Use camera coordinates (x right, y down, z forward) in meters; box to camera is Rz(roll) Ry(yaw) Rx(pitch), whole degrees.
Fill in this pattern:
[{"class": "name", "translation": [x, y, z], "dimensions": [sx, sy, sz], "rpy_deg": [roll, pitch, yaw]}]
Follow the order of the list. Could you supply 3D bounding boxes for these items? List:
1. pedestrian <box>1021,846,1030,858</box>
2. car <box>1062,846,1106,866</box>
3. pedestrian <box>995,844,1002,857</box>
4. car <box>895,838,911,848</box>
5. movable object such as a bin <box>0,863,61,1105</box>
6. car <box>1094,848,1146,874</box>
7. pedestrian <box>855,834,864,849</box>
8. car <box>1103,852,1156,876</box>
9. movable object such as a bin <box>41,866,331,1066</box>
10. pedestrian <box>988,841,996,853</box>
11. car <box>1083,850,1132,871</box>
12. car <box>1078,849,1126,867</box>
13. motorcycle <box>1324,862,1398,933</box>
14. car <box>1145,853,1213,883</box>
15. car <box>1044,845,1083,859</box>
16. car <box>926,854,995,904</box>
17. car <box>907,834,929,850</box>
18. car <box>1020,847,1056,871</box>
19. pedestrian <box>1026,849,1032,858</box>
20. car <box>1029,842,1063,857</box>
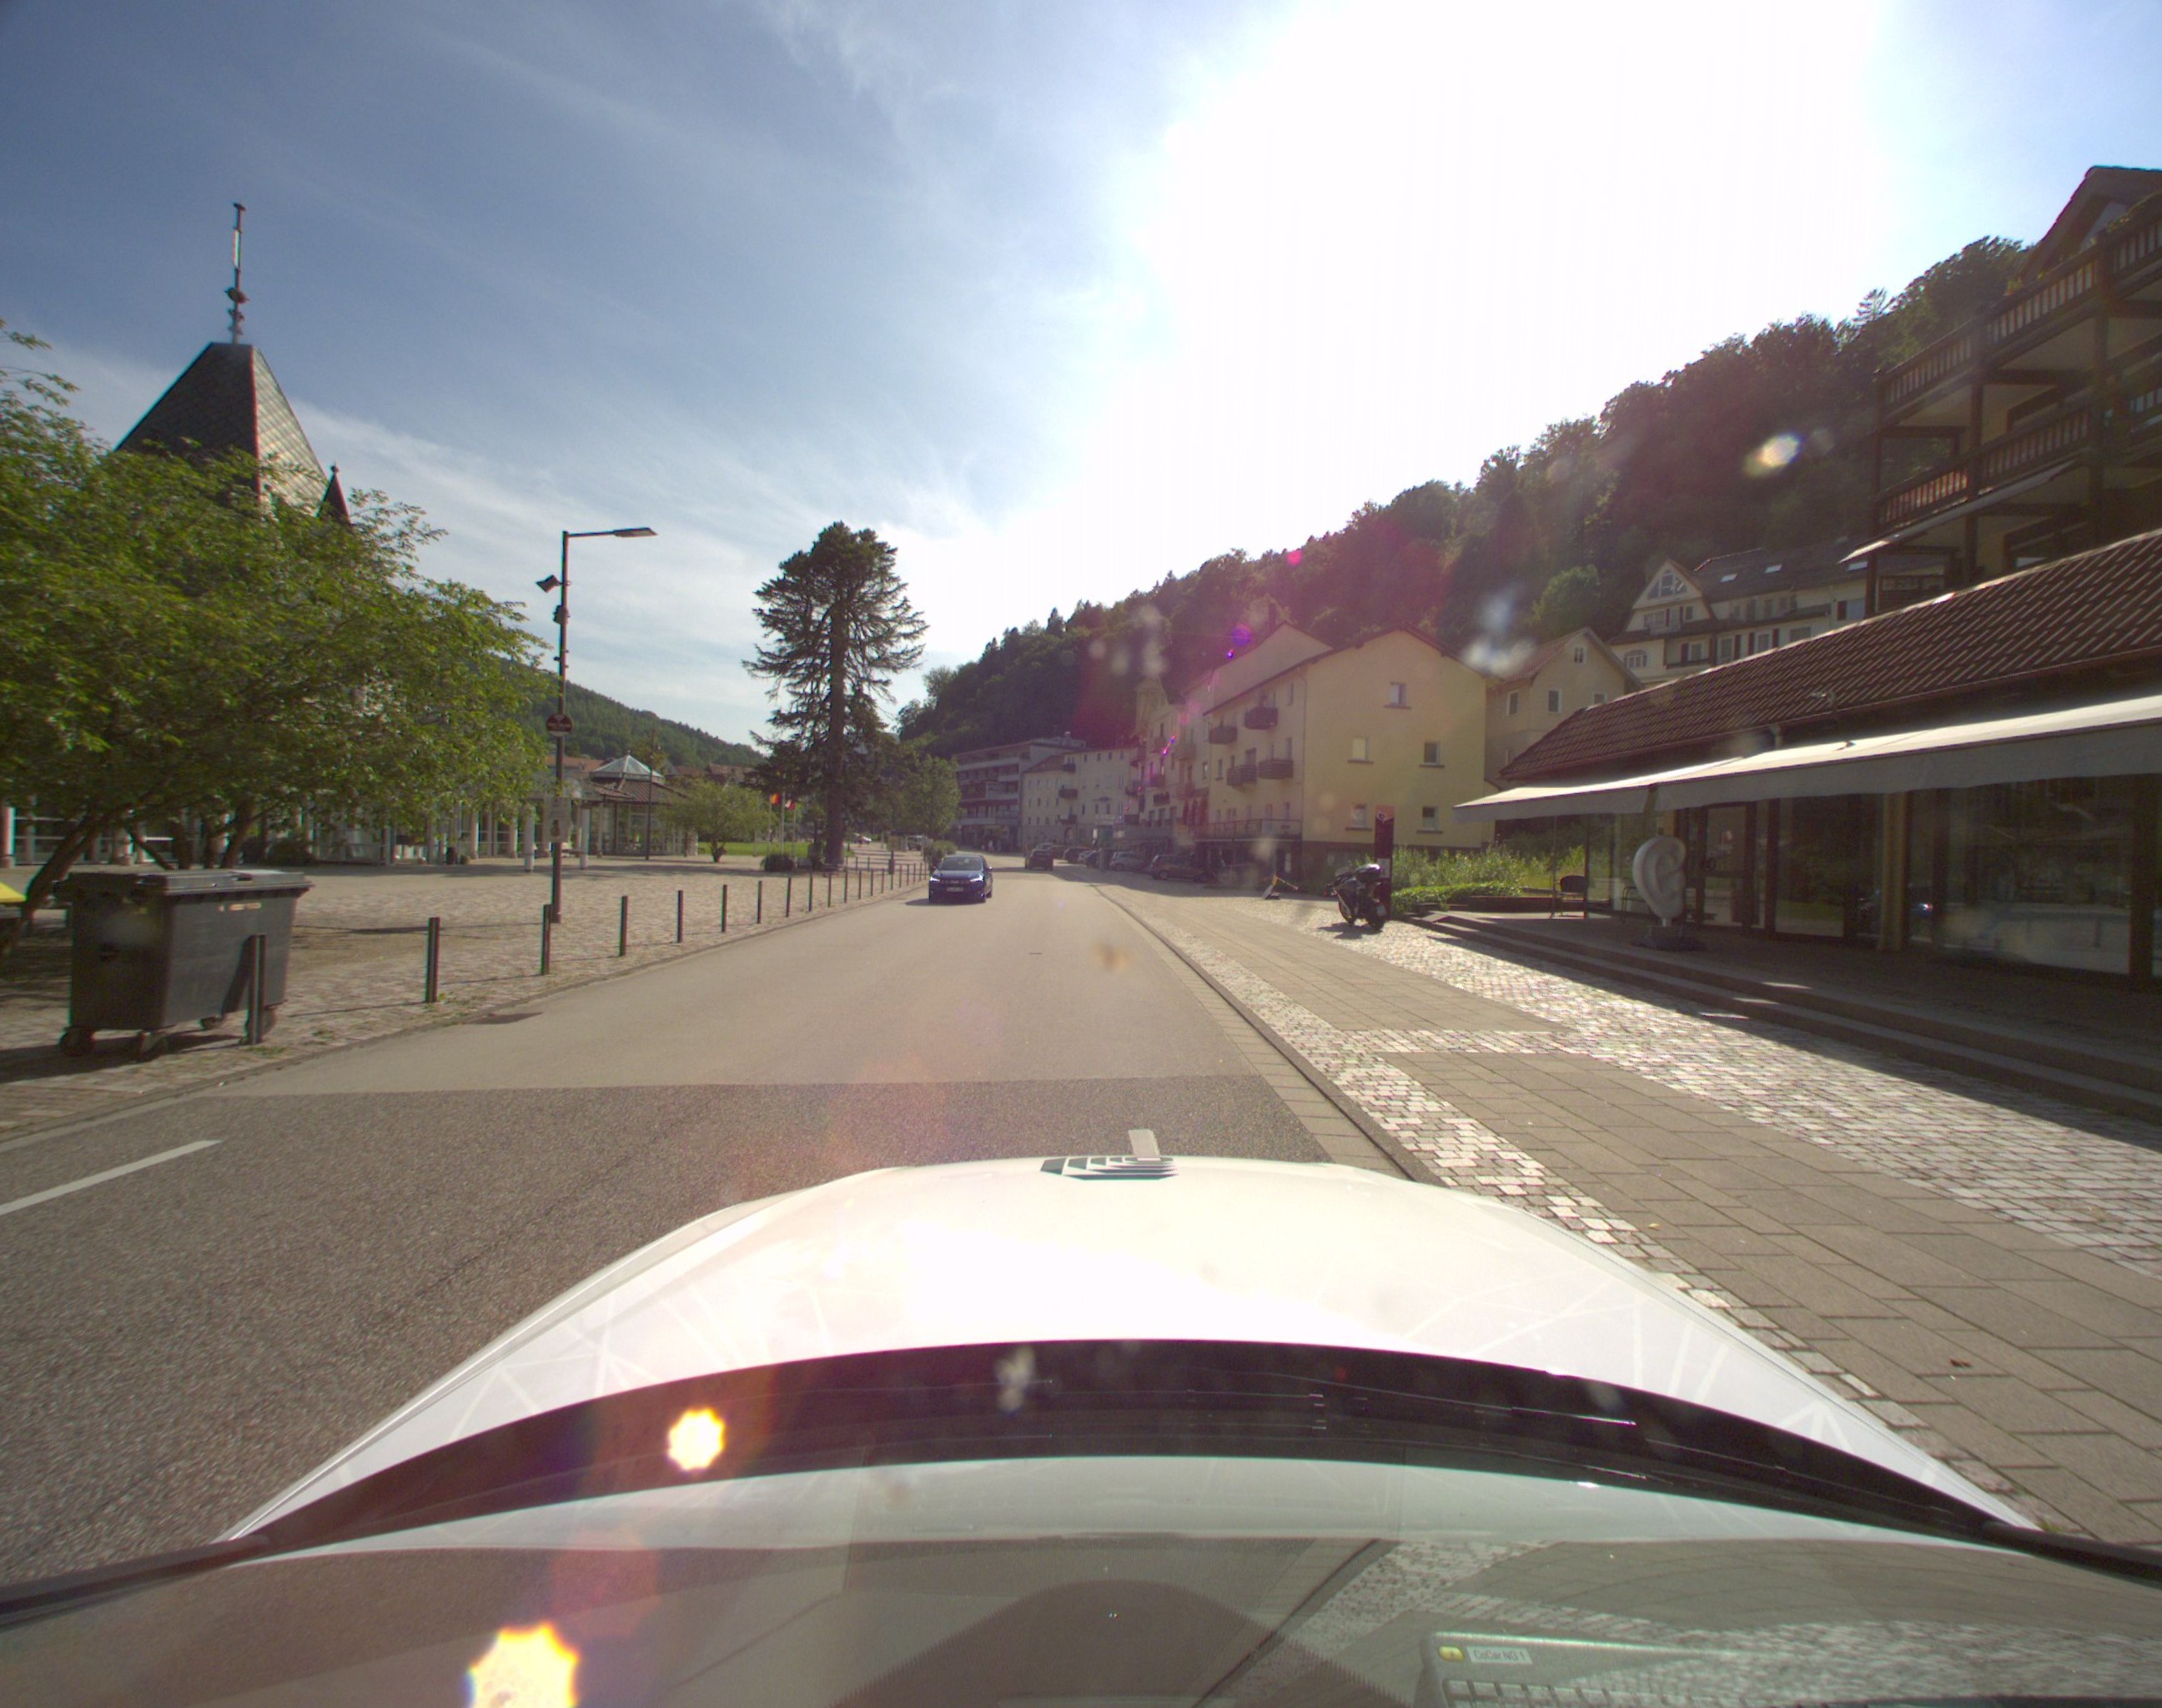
[{"class": "pedestrian", "translation": [-6.421, -0.243, 94.396], "dimensions": [0.740, 1.442, 0.626], "rpy_deg": [0, 1, -37]}, {"class": "car", "translation": [0.257, 0.184, 81.671], "dimensions": [4.081, 1.666, 1.768], "rpy_deg": [5, 0, -8]}, {"class": "pedestrian", "translation": [-11.127, -0.481, 109.515], "dimensions": [0.673, 1.728, 0.701], "rpy_deg": [3, 0, -30]}, {"class": "car", "translation": [-34.872, -2.154, 159.540], "dimensions": [1.687, 1.620, 3.960], "rpy_deg": [3, 1, -32]}, {"class": "movable object such as a bin", "translation": [-6.974, 0.759, 4.405], "dimensions": [1.075, 1.427, 1.376], "rpy_deg": [4, 0, -1]}, {"class": "car", "translation": [3.236, 0.562, 67.805], "dimensions": [3.906, 1.804, 1.853], "rpy_deg": [5, -1, -8]}, {"class": "pedestrian", "translation": [-27.288, -1.523, 100.182], "dimensions": [0.872, 1.815, 0.685], "rpy_deg": [3, 0, -29]}, {"class": "car", "translation": [3.852, 0.779, 65.087], "dimensions": [3.907, 1.589, 1.770], "rpy_deg": [5, 0, -8]}, {"class": "movable object such as a bin", "translation": [-6.918, 0.803, 6.401], "dimensions": [0.753, 1.341, 1.294], "rpy_deg": [4, 0, -1]}, {"class": "pedestrian", "translation": [-12.001, -0.978, 109.485], "dimensions": [0.762, 1.593, 0.622], "rpy_deg": [3, 0, -30]}, {"class": "car", "translation": [2.253, 0.576, 70.419], "dimensions": [3.906, 1.460, 1.732], "rpy_deg": [4, 0, -8]}, {"class": "car", "translation": [1.961, 0.382, 76.810], "dimensions": [4.350, 1.461, 1.769], "rpy_deg": [4, -1, -6]}, {"class": "motorcycle", "translation": [5.654, 0.834, 16.575], "dimensions": [0.695, 1.296, 2.211], "rpy_deg": [-1, 0, -1]}, {"class": "car", "translation": [6.188, 0.898, 51.426], "dimensions": [3.860, 1.554, 1.754], "rpy_deg": [4, 0, -11]}, {"class": "car", "translation": [-2.000, -0.274, 93.498], "dimensions": [4.032, 1.516, 1.757], "rpy_deg": [-1, 3, -28]}, {"class": "car", "translation": [-3.830, 0.752, 26.562], "dimensions": [1.736, 1.462, 4.184], "rpy_deg": [0, 0, -2]}, {"class": "car", "translation": [-21.451, -1.601, 107.194], "dimensions": [1.863, 1.953, 4.979], "rpy_deg": [1, 0, -23]}, {"class": "car", "translation": [-3.245, 0.358, 61.074], "dimensions": [1.732, 1.574, 3.731], "rpy_deg": [3, 2, -18]}, {"class": "pedestrian", "translation": [-6.036, -0.056, 94.743], "dimensions": [0.420, 1.002, 0.525], "rpy_deg": [0, 1, -37]}, {"class": "car", "translation": [-4.274, -0.565, 99.315], "dimensions": [3.883, 1.612, 1.757], "rpy_deg": [-1, 3, -28]}]
